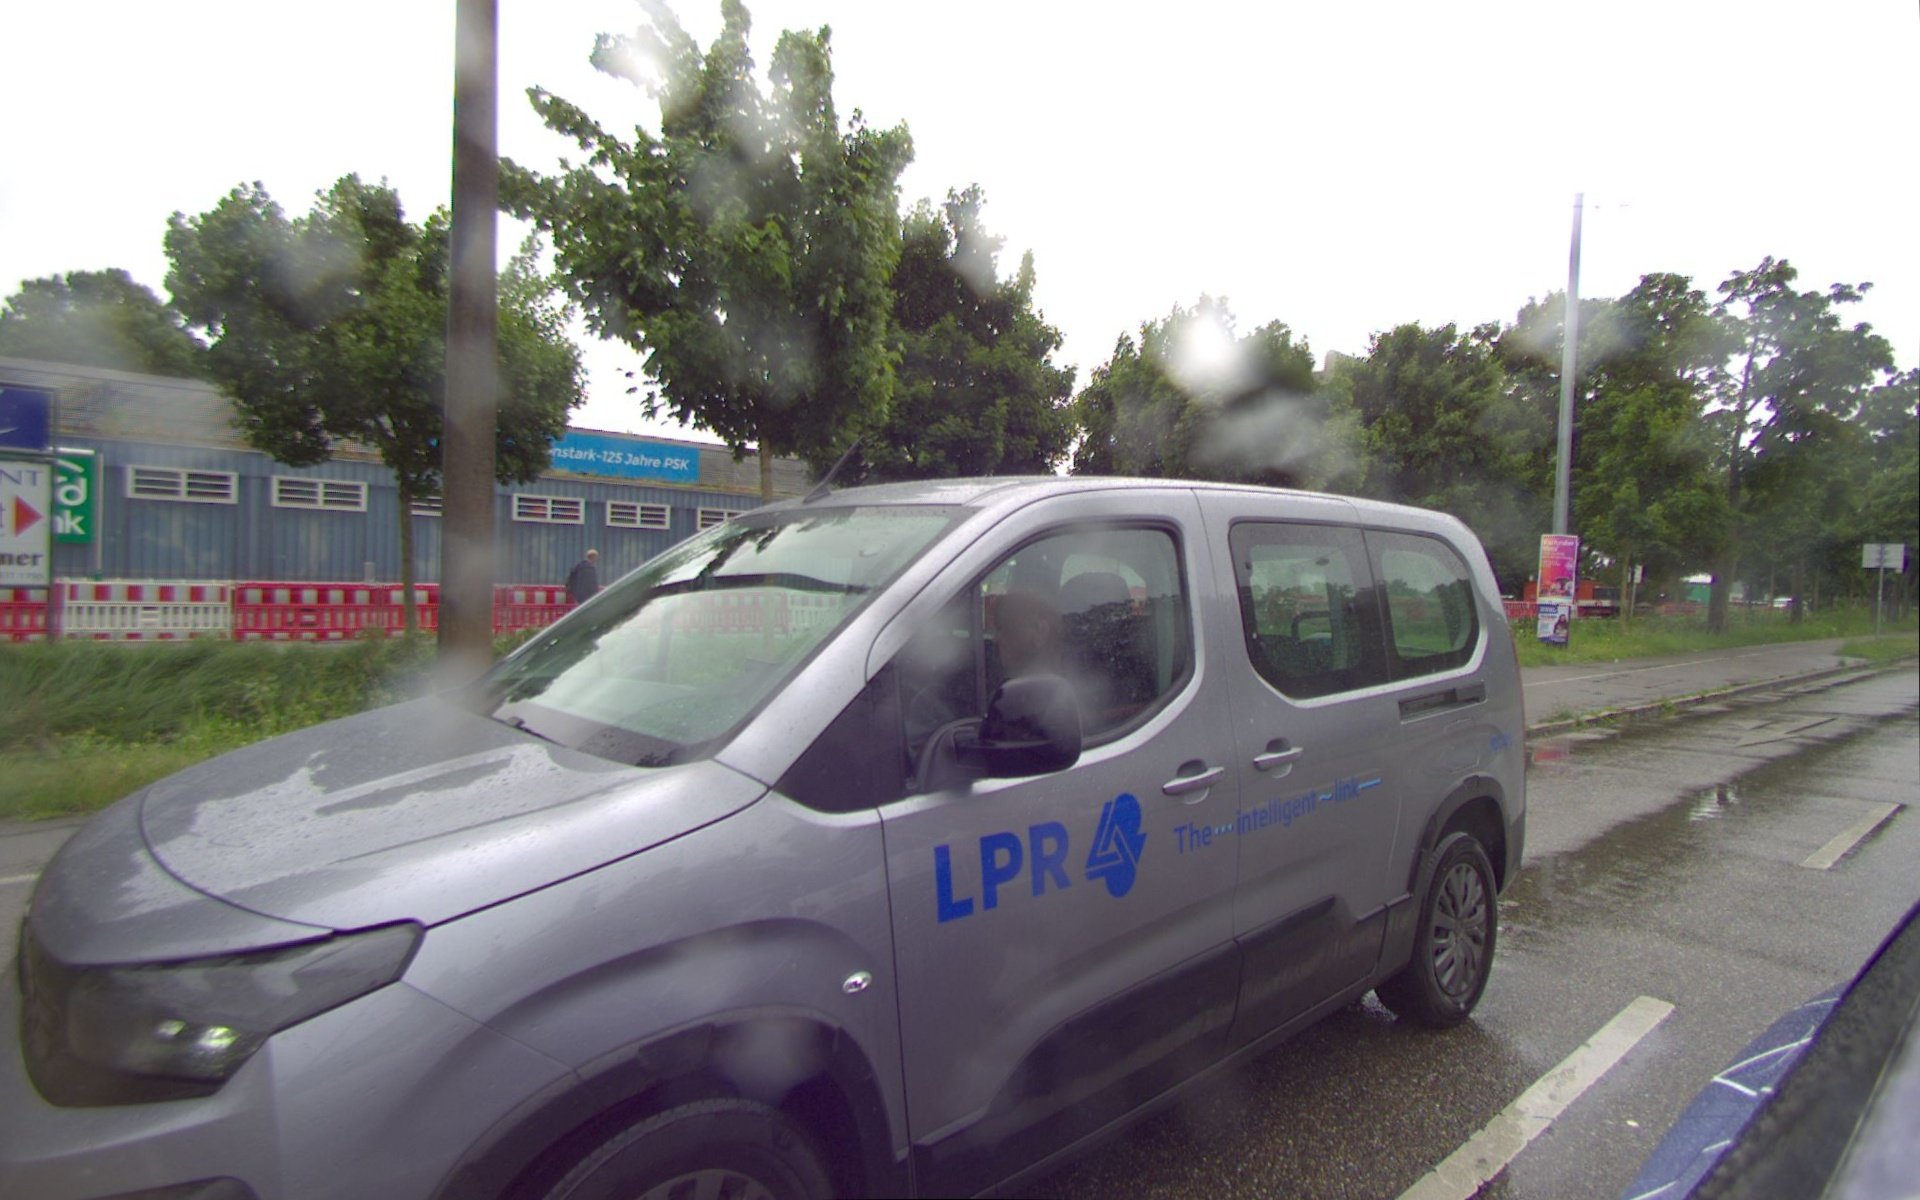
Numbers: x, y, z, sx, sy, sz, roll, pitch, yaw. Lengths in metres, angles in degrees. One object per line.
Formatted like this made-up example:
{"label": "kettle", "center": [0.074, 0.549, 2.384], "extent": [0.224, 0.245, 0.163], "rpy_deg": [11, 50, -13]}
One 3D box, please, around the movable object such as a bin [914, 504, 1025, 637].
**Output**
{"label": "movable object such as a bin", "center": [0.363, -1.023, 35.895], "extent": [3.839, 4.482, 1.557], "rpy_deg": [0, 0, -40]}

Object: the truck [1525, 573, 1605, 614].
{"label": "truck", "center": [46.006, -0.521, 76.812], "extent": [8.600, 2.935, 2.808], "rpy_deg": [-1, 0, -42]}

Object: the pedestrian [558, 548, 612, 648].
{"label": "pedestrian", "center": [-7.381, -0.049, 19.921], "extent": [0.861, 1.920, 0.580], "rpy_deg": [0, 0, -42]}

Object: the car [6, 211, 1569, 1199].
{"label": "car", "center": [0.075, 0.506, 3.251], "extent": [4.483, 1.818, 1.997], "rpy_deg": [0, 0, -42]}
